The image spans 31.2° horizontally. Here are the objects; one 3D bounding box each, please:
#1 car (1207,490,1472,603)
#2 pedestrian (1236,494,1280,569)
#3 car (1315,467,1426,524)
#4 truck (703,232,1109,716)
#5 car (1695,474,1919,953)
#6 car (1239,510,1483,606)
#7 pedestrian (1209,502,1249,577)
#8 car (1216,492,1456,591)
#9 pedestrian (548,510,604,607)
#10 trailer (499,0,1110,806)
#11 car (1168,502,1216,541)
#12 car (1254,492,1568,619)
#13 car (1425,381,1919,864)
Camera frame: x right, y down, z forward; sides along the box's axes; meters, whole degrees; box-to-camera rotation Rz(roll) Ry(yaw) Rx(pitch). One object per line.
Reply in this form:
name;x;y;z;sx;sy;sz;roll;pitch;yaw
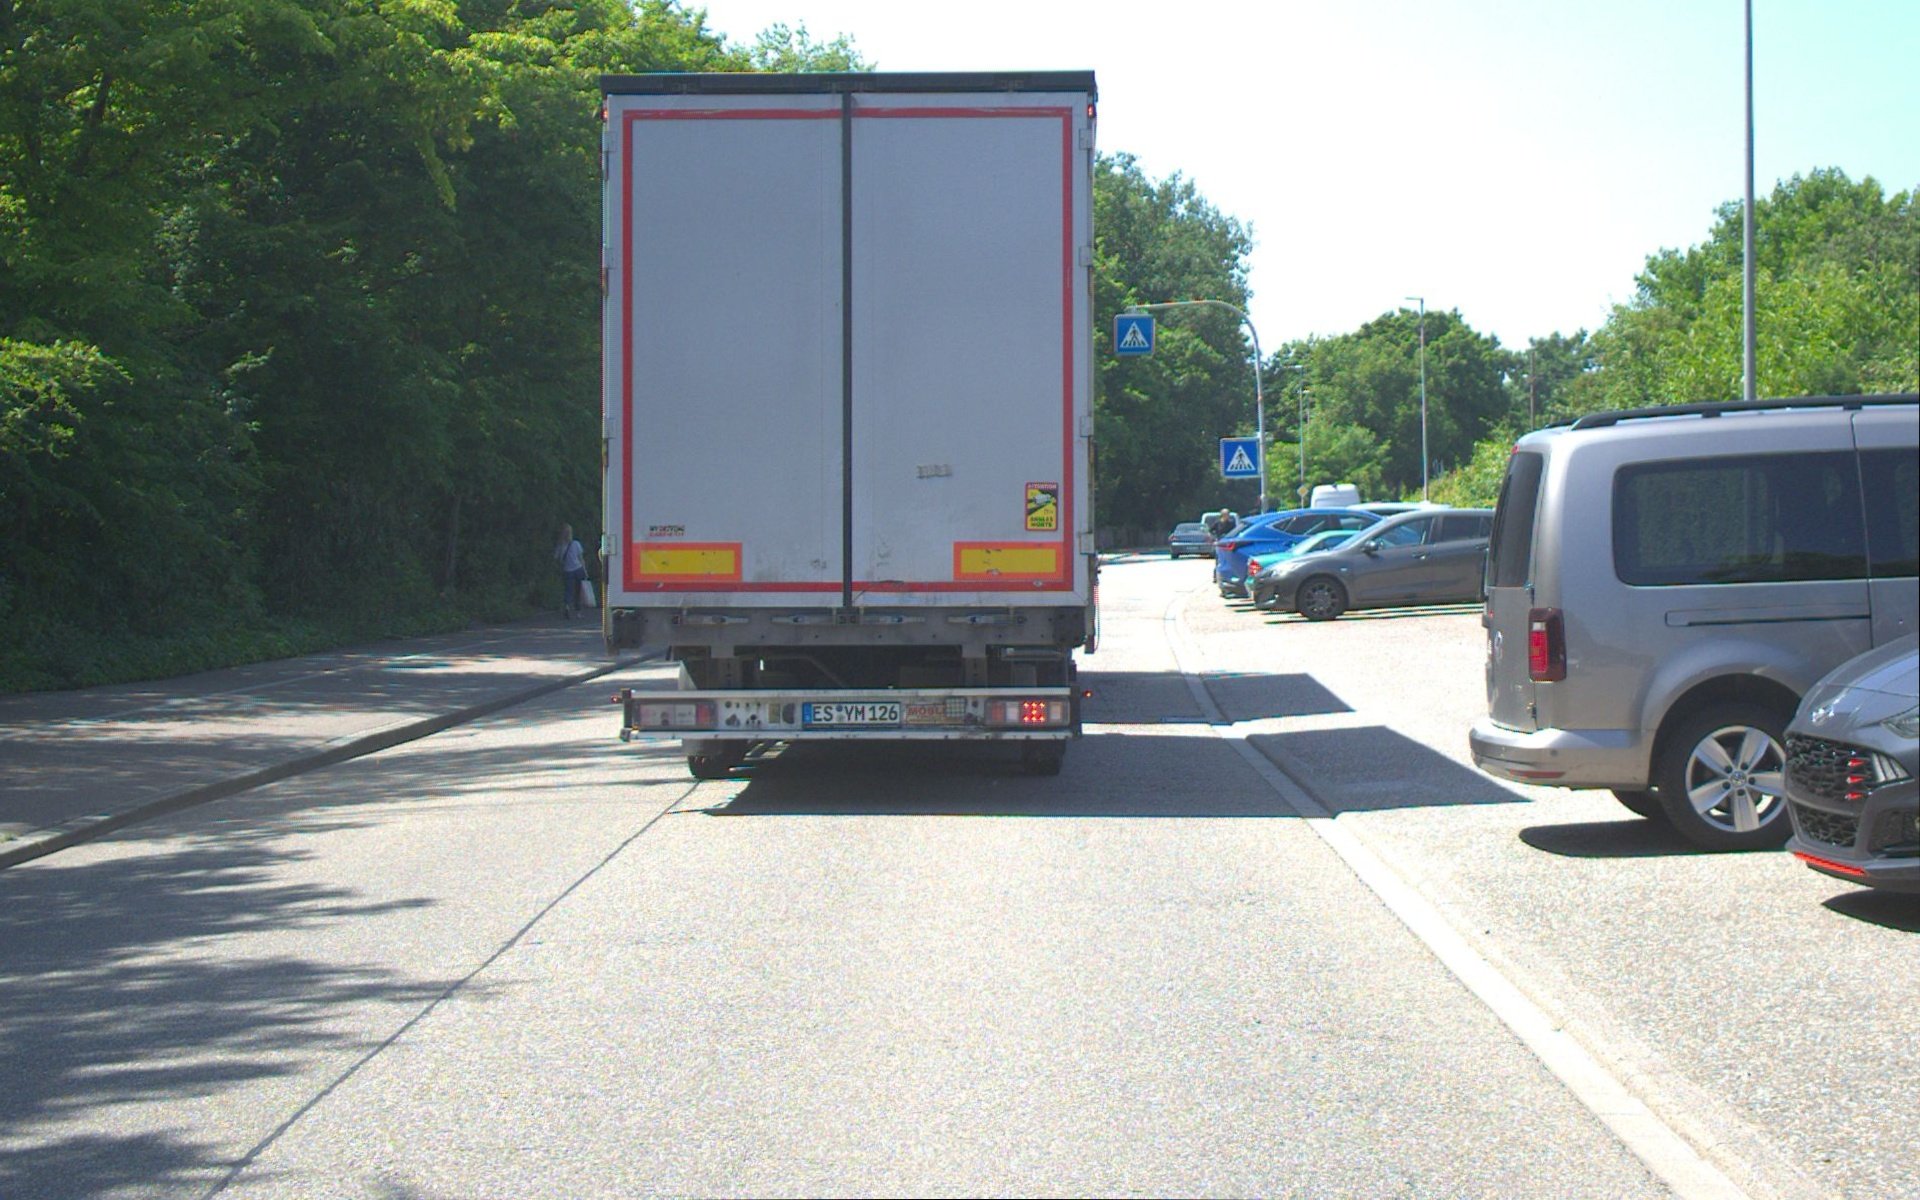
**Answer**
car;6.326;-0.907;57.672;4.238;1.628;1.823;-3;1;3
pedestrian;7.391;-1.708;85.176;0.908;1.792;0.935;-4;1;9
car;15.260;-3.878;127.930;3.957;1.792;1.813;-4;-1;7
truck;-0.292;-1.061;29.824;3.114;3.712;6.413;0;2;2
car;4.622;0.241;11.981;3.575;1.497;1.842;-4;2;-4
car;6.365;-0.670;54.825;3.735;1.264;1.627;-4;1;5
pedestrian;6.821;-1.532;87.031;0.822;1.828;0.792;-4;1;9
car;6.922;-1.067;63.616;4.236;1.648;1.899;-2;0;2
pedestrian;-6.471;-0.705;57.950;0.828;1.617;0.783;0;2;2
trailer;-0.559;-1.116;23.263;3.113;4.088;11.536;0;1;2
car;9.202;-3.125;136.544;1.781;1.481;4.000;-1;2;2
car;6.319;-0.632;48.539;4.164;1.490;1.883;-4;1;3
car;4.537;-0.055;15.107;4.621;1.842;1.996;-5;2;2
